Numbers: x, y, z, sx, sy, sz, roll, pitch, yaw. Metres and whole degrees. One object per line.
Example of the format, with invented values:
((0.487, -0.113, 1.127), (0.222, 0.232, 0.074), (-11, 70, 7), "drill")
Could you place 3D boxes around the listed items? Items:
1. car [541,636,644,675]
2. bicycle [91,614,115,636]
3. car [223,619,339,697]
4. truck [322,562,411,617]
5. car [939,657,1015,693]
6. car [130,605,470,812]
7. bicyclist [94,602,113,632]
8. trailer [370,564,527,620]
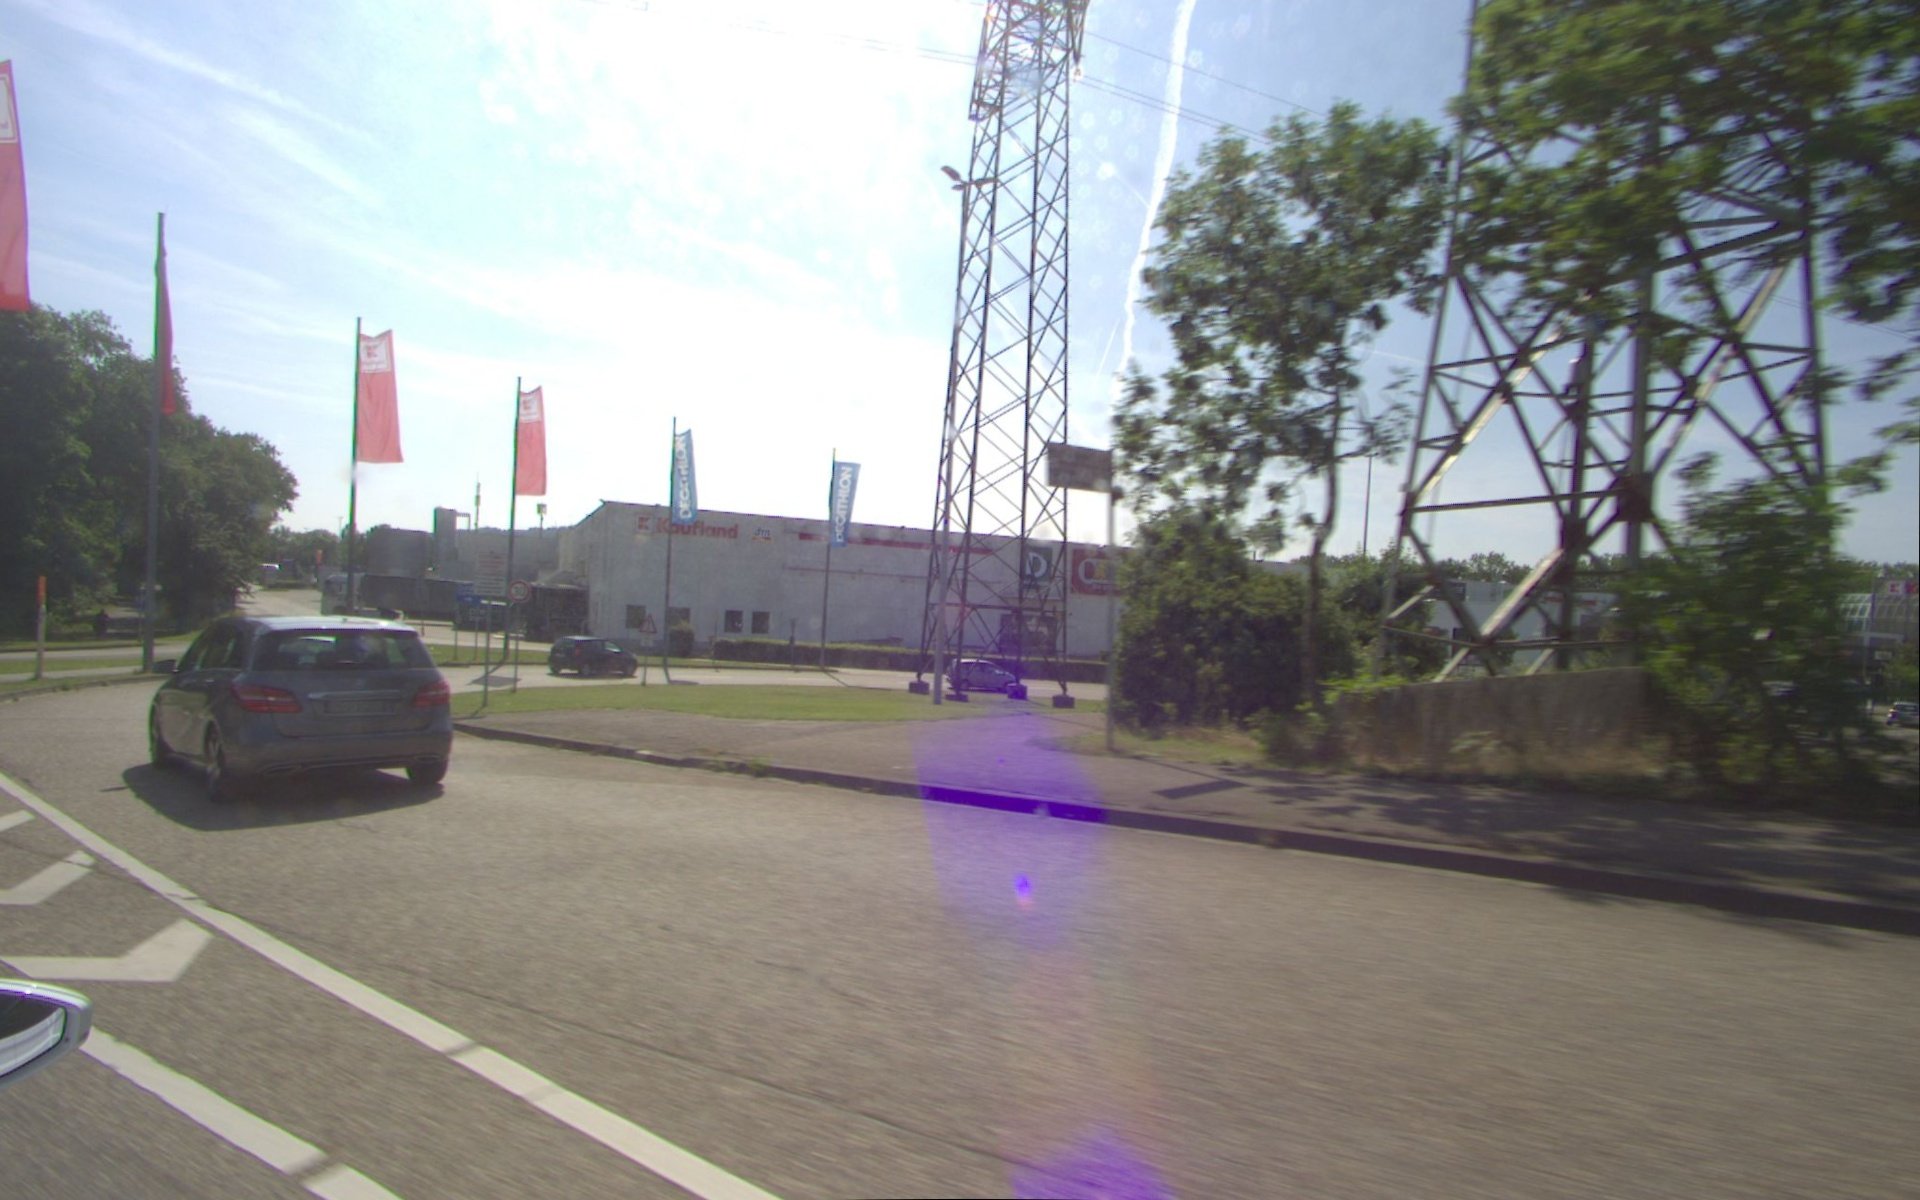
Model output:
((-14.811, 2.281, 40.518), (1.749, 1.347, 3.735), (2, -4, 24), "car")
((-45.216, 1.312, 52.836), (2.162, 0.991, 0.720), (4, 1, 44), "bicycle")
((-15.369, 1.288, 22.870), (1.838, 1.547, 4.122), (5, -4, -31), "car")
((-52.843, -0.959, 89.428), (6.471, 4.475, 3.737), (3, 1, -28), "truck")
((0.876, 3.793, 50.786), (3.433, 1.503, 1.620), (5, -2, -18), "car")
((-6.496, 0.848, 9.670), (4.099, 1.549, 1.846), (0, -1, 43), "car")
((-45.189, 0.897, 52.828), (0.837, 1.554, 0.671), (4, 1, 43), "bicyclist")
((-47.064, -0.666, 92.548), (12.530, 4.475, 3.737), (3, 1, -28), "trailer")
